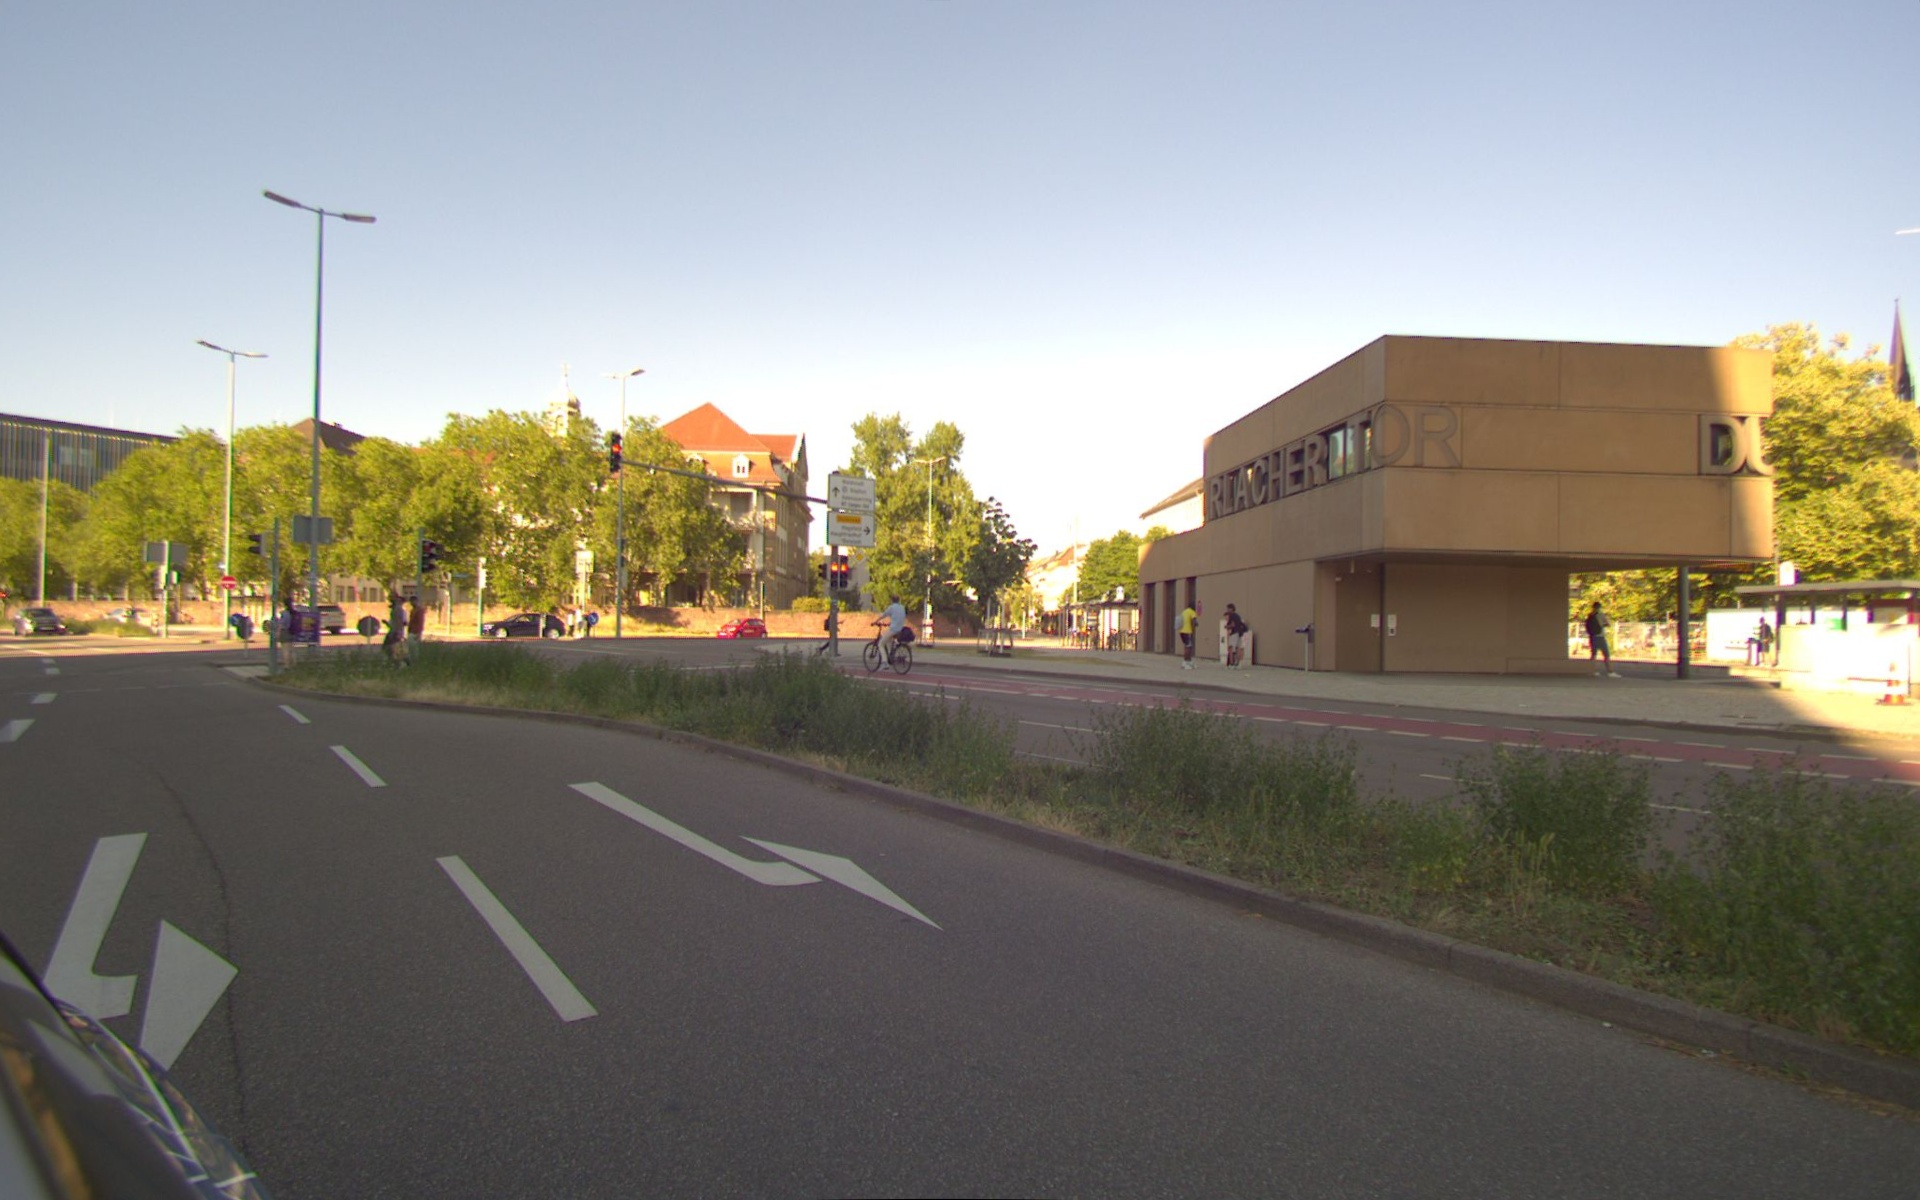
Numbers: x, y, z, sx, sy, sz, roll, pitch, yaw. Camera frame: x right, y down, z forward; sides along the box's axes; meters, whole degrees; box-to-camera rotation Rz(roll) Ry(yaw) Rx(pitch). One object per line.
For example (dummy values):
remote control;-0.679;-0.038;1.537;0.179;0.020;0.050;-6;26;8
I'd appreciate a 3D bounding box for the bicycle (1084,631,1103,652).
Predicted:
bicycle;7.441;2.304;56.533;0.477;1.114;1.805;-1;-1;-10

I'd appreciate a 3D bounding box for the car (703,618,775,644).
car;-14.214;2.026;65.319;2.185;1.598;4.563;-2;-3;28

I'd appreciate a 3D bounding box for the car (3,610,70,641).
car;-47.582;1.311;52.136;4.012;1.530;1.901;0;-2;38

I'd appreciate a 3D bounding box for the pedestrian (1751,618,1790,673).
pedestrian;29.810;1.663;37.230;0.804;1.997;0.755;1;-2;-2

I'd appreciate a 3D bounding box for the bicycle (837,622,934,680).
bicycle;-1.795;1.184;24.000;2.556;1.265;0.732;0;-1;42

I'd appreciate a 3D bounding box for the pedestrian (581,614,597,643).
pedestrian;-22.257;1.731;60.750;0.780;1.665;0.715;3;1;-14

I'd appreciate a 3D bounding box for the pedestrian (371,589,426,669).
pedestrian;-12.538;0.642;22.601;0.913;1.754;0.758;2;-2;-40

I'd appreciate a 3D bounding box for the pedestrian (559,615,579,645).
pedestrian;-22.677;1.745;58.686;0.858;1.686;0.715;2;1;-31

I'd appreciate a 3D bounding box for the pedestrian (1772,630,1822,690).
pedestrian;28.693;2.057;34.700;0.982;1.997;0.829;1;-2;-2

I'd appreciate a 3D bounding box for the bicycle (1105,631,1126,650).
bicycle;9.278;2.392;60.451;0.747;1.062;1.975;-1;-1;-4

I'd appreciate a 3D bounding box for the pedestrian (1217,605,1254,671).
pedestrian;7.417;1.030;27.242;0.725;1.744;0.665;-1;-2;-5

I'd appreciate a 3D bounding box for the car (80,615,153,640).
car;-58.934;1.917;70.750;4.333;1.632;2.140;0;-2;22

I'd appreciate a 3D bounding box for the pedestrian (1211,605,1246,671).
pedestrian;6.977;0.987;26.281;0.628;1.702;0.551;0;-3;-17

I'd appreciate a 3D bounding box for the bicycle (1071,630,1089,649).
bicycle;7.164;2.357;60.506;0.558;1.062;1.976;-1;-1;-7

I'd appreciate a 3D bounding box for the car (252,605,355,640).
car;-34.704;1.221;53.532;4.568;1.697;2.182;-2;-2;18

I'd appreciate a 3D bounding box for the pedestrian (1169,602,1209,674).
pedestrian;5.963;0.991;26.367;0.706;1.849;0.641;0;-3;-30

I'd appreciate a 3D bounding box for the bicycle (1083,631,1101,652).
bicycle;7.180;2.246;55.029;0.558;1.114;1.975;-1;-1;-4

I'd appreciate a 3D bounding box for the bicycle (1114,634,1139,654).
bicycle;9.391;2.468;57.053;0.853;1.051;1.934;-1;-1;-6

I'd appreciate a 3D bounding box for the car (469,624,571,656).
car;-23.061;2.080;53.080;4.530;1.598;2.201;0;-3;-35

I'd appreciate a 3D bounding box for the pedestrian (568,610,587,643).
pedestrian;-22.529;1.568;59.630;0.858;1.908;0.715;2;1;-31

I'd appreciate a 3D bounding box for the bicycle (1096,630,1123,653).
bicycle;7.510;2.111;50.911;0.733;1.114;2.128;-1;-2;-8

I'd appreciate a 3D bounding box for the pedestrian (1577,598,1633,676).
pedestrian;16.760;0.964;26.303;0.966;1.997;0.719;1;-2;-4

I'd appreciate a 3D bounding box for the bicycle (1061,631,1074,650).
bicycle;6.603;2.479;62.180;0.559;1.062;1.972;-1;-1;1

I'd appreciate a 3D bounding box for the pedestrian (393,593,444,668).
pedestrian;-13.028;0.737;24.354;0.913;1.754;0.789;2;-2;-40

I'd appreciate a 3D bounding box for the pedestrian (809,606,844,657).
pedestrian;-4.534;1.058;34.323;0.885;1.697;0.749;2;-2;-40

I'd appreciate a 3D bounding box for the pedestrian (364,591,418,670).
pedestrian;-13.045;0.697;23.214;0.913;1.754;0.758;2;-2;-40

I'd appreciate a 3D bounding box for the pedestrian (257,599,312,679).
pedestrian;-15.249;0.870;22.842;0.913;1.754;0.758;2;-2;-40

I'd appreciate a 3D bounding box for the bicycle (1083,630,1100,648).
bicycle;8.104;2.425;62.560;0.673;1.062;2.024;-1;-1;-3

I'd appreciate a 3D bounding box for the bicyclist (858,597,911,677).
bicyclist;-1.784;0.856;23.999;1.013;1.846;0.732;0;-1;42
